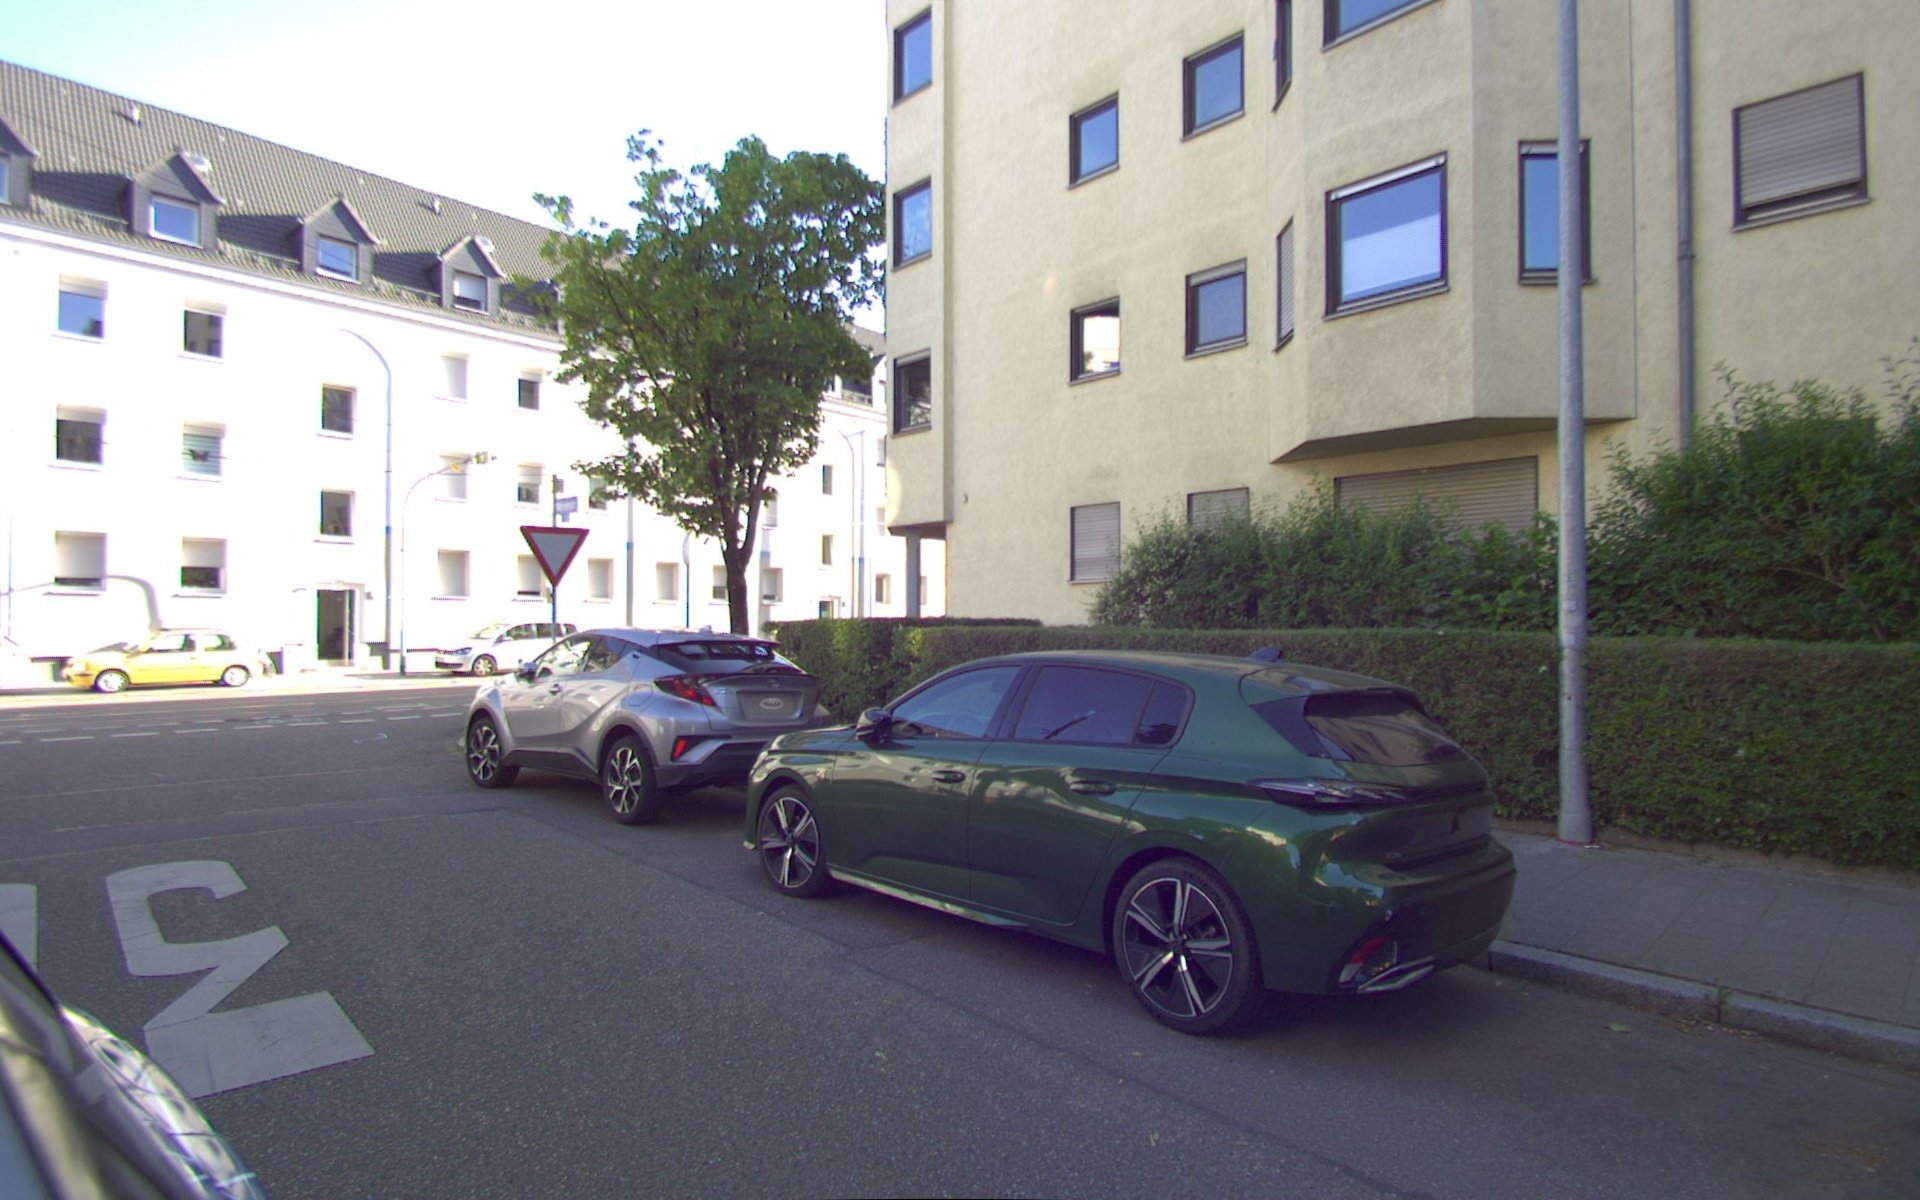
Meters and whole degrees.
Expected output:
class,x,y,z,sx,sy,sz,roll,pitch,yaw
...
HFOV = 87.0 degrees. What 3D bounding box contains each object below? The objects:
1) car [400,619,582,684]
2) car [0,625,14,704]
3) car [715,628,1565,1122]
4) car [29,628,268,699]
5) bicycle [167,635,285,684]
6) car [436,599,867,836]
class,x,y,z,sx,sy,sz,roll,pitch,yaw
car,-13.750,1.455,29.896,1.758,1.678,4.567,3,0,38
car,-21.745,1.303,19.882,1.684,1.583,4.448,1,-1,40
car,0.560,0.934,5.269,1.731,1.508,4.139,4,-4,-43
car,-18.781,1.411,23.584,1.517,1.441,4.145,0,-1,40
bicycle,-19.255,1.530,26.593,1.098,1.206,2.296,-1,-2,39
car,-2.924,0.902,9.195,3.998,1.672,1.883,-1,-4,41
